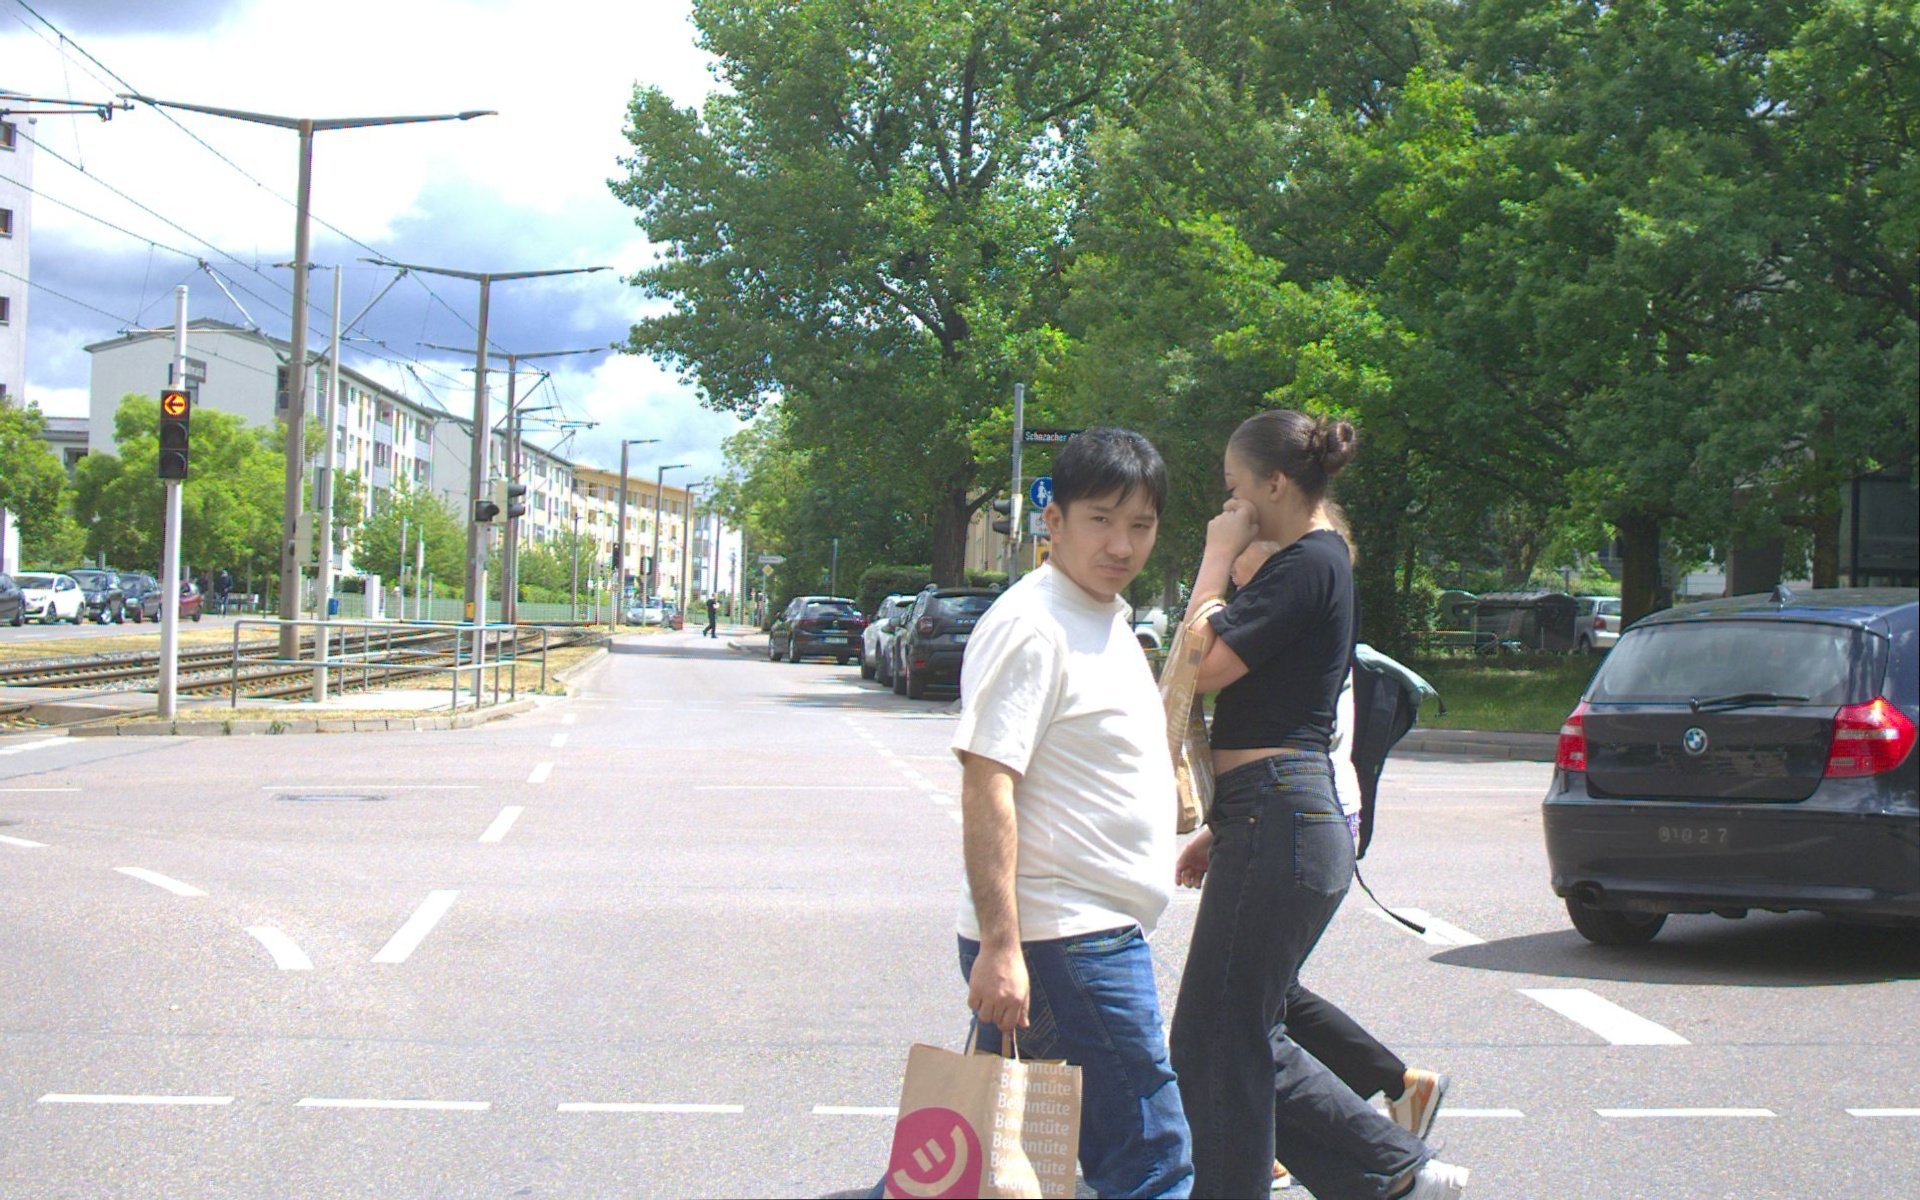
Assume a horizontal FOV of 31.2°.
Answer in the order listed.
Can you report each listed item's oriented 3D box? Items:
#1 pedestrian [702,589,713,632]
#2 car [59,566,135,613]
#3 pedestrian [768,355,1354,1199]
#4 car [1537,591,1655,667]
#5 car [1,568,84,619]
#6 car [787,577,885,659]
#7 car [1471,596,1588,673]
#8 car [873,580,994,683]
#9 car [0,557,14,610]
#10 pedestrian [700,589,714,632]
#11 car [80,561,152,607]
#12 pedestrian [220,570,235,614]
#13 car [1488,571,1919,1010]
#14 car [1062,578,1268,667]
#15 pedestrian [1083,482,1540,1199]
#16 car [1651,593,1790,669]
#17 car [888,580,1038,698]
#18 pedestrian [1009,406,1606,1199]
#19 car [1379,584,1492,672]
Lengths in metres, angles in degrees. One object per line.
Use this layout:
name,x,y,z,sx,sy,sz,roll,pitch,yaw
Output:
pedestrian,-9.658,0.404,131.599,0.333,1.622,0.358,1,1,-18
car,-26.353,-0.336,105.015,1.760,1.390,4.001,1,1,-7
pedestrian,0.134,0.526,5.696,0.868,1.802,0.742,1,1,-4
car,14.144,0.624,76.656,1.630,1.589,4.001,1,1,-4
car,-26.295,-0.199,98.583,1.760,1.390,4.001,1,1,-7
car,-2.666,0.367,74.708,1.993,1.678,4.000,1,1,-1
car,12.469,0.734,75.444,1.630,1.567,4.033,1,1,-4
car,-0.463,0.537,59.348,1.993,1.678,4.000,1,0,-1
car,-26.293,-0.439,91.117,1.760,1.390,4.001,1,1,-7
pedestrian,-9.691,0.386,131.552,0.478,1.631,0.454,1,1,-1
car,-26.928,-0.517,109.738,1.760,1.390,4.001,1,1,-7
pedestrian,-27.270,-0.291,127.928,0.452,1.631,0.480,1,1,-3
car,3.933,0.655,13.934,1.756,1.482,3.991,2,1,39
car,4.373,0.471,73.425,3.986,1.817,1.779,1,1,-23
pedestrian,0.850,0.570,8.113,0.953,1.668,0.870,0,0,15
car,17.016,0.682,77.116,1.730,1.589,4.001,1,1,-8
car,0.027,0.571,51.901,2.152,1.678,4.000,1,0,-1
pedestrian,0.649,0.531,6.686,0.933,1.759,0.772,1,1,-12
car,10.300,0.587,74.713,1.630,1.804,4.033,1,1,-4
